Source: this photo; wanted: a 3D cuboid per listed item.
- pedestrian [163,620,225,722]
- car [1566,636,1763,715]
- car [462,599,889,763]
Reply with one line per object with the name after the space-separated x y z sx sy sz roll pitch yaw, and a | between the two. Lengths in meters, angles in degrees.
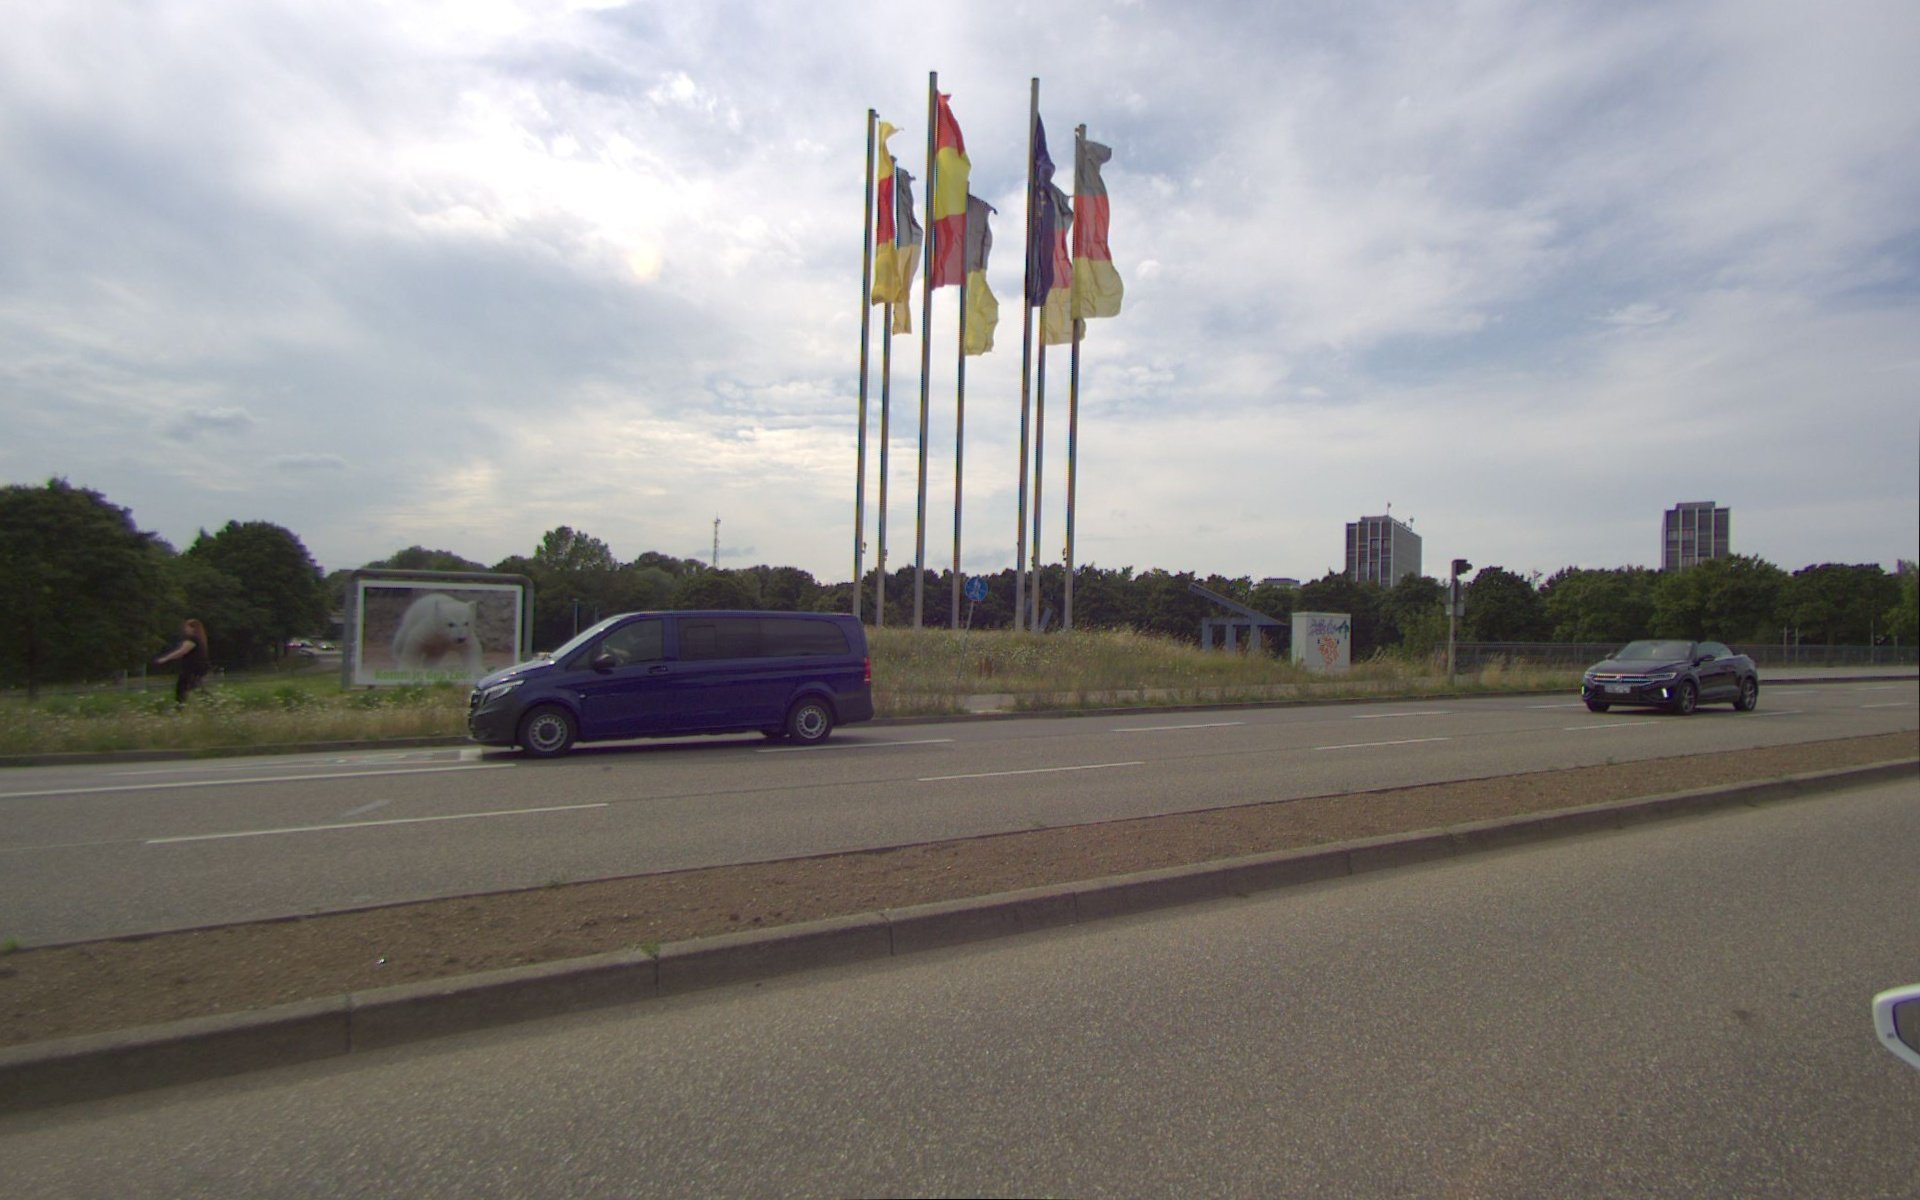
-13.293 1.219 17.455 0.670 1.715 0.862 1 -2 -27 | pedestrian
14.414 1.473 20.508 4.129 1.459 1.755 1 -3 -31 | car
-3.830 1.050 13.910 5.436 1.918 1.840 1 -4 -28 | car
